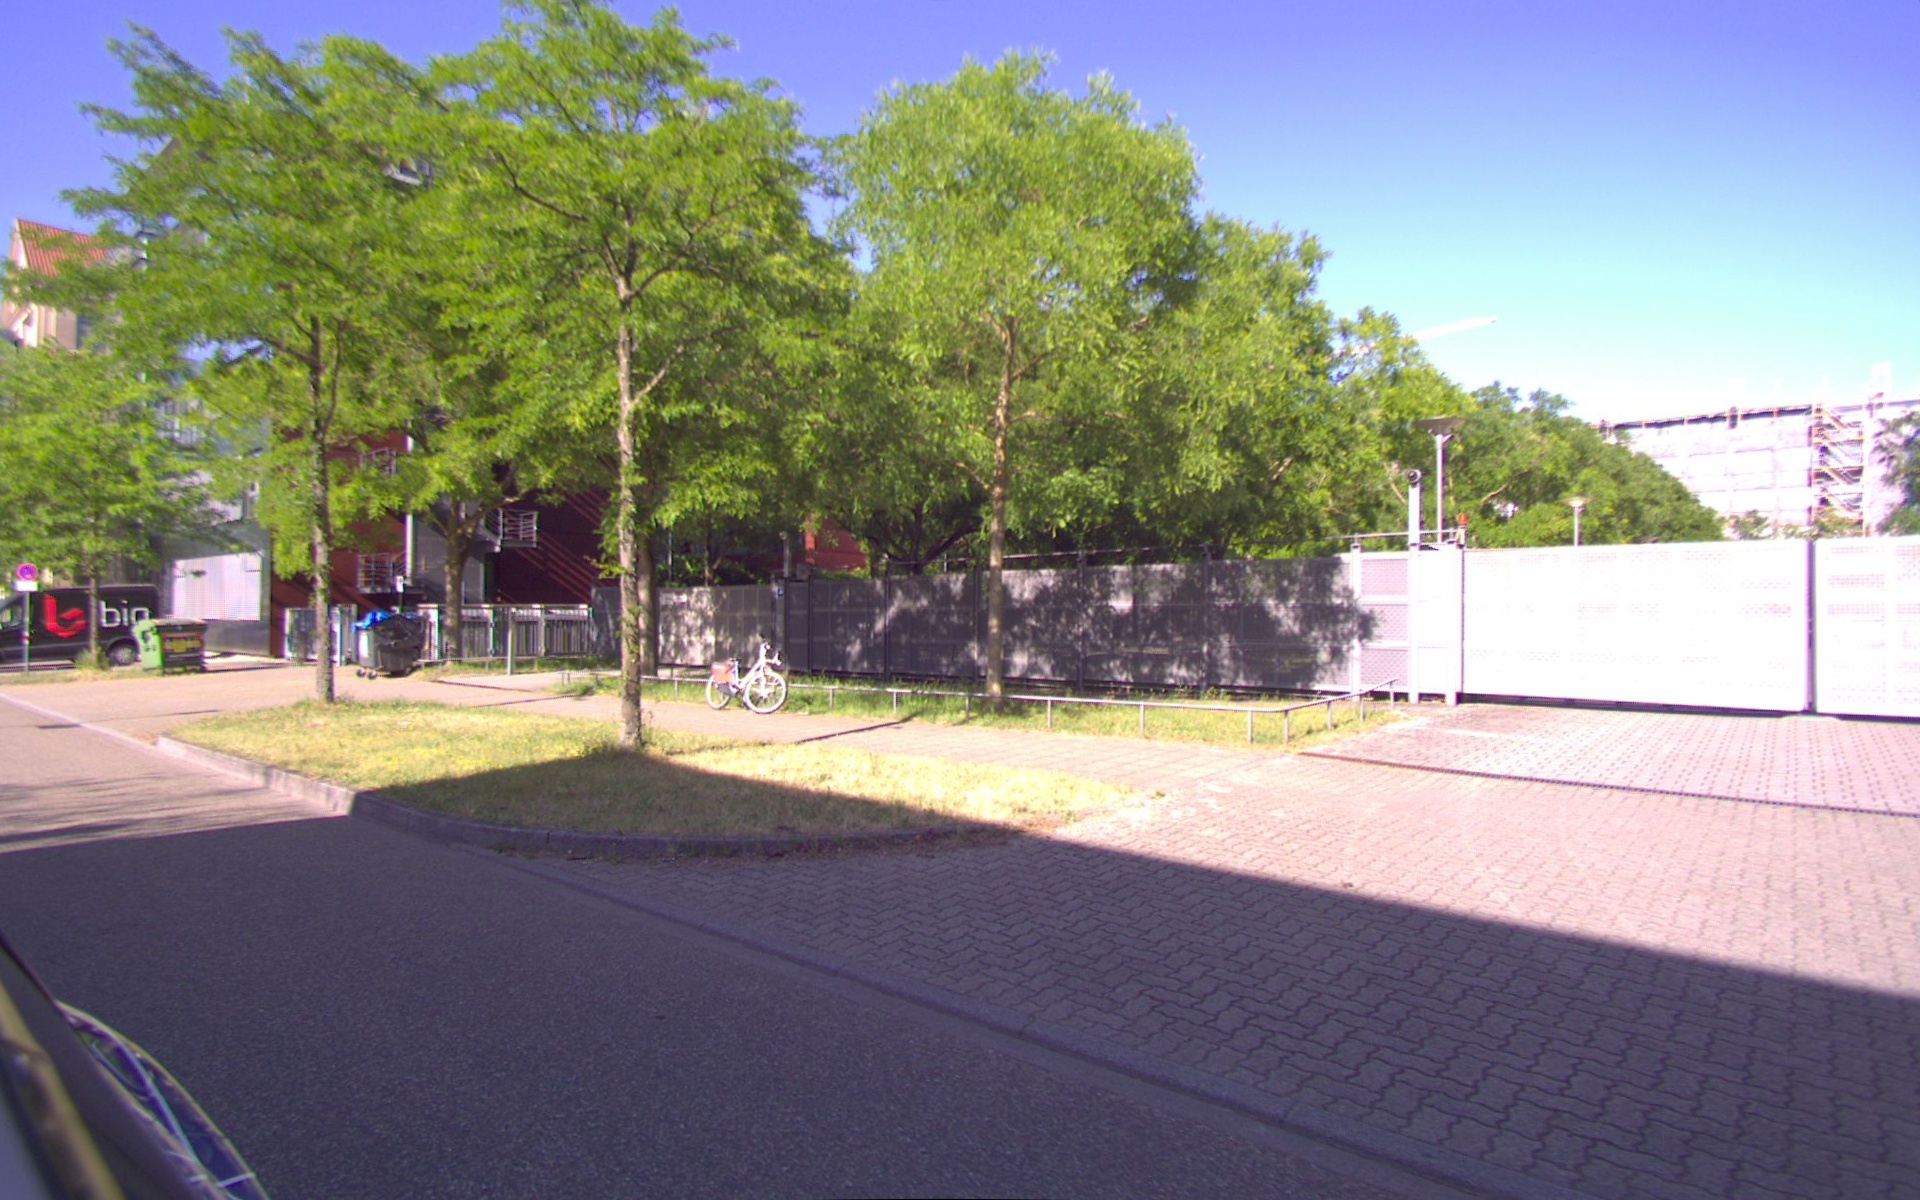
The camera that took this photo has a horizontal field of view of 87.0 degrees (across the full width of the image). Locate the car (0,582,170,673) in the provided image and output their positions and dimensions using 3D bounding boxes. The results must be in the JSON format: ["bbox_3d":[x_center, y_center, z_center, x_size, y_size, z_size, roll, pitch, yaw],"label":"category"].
[{"bbox_3d":[-27.681,0.801,30.784,1.985,2.560,5.421,-1,1,39],"label":"car"}]

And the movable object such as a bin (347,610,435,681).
[{"bbox_3d":[-13.436,1.048,23.905,1.502,1.580,1.347,0,0,-45],"label":"movable object such as a bin"}]

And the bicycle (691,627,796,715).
[{"bbox_3d":[-3.215,1.017,14.916,1.727,1.201,0.594,-1,0,41],"label":"bicycle"}]

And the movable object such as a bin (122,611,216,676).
[{"bbox_3d":[-20.089,1.081,25.719,1.342,1.580,1.508,-1,0,31],"label":"movable object such as a bin"}]
